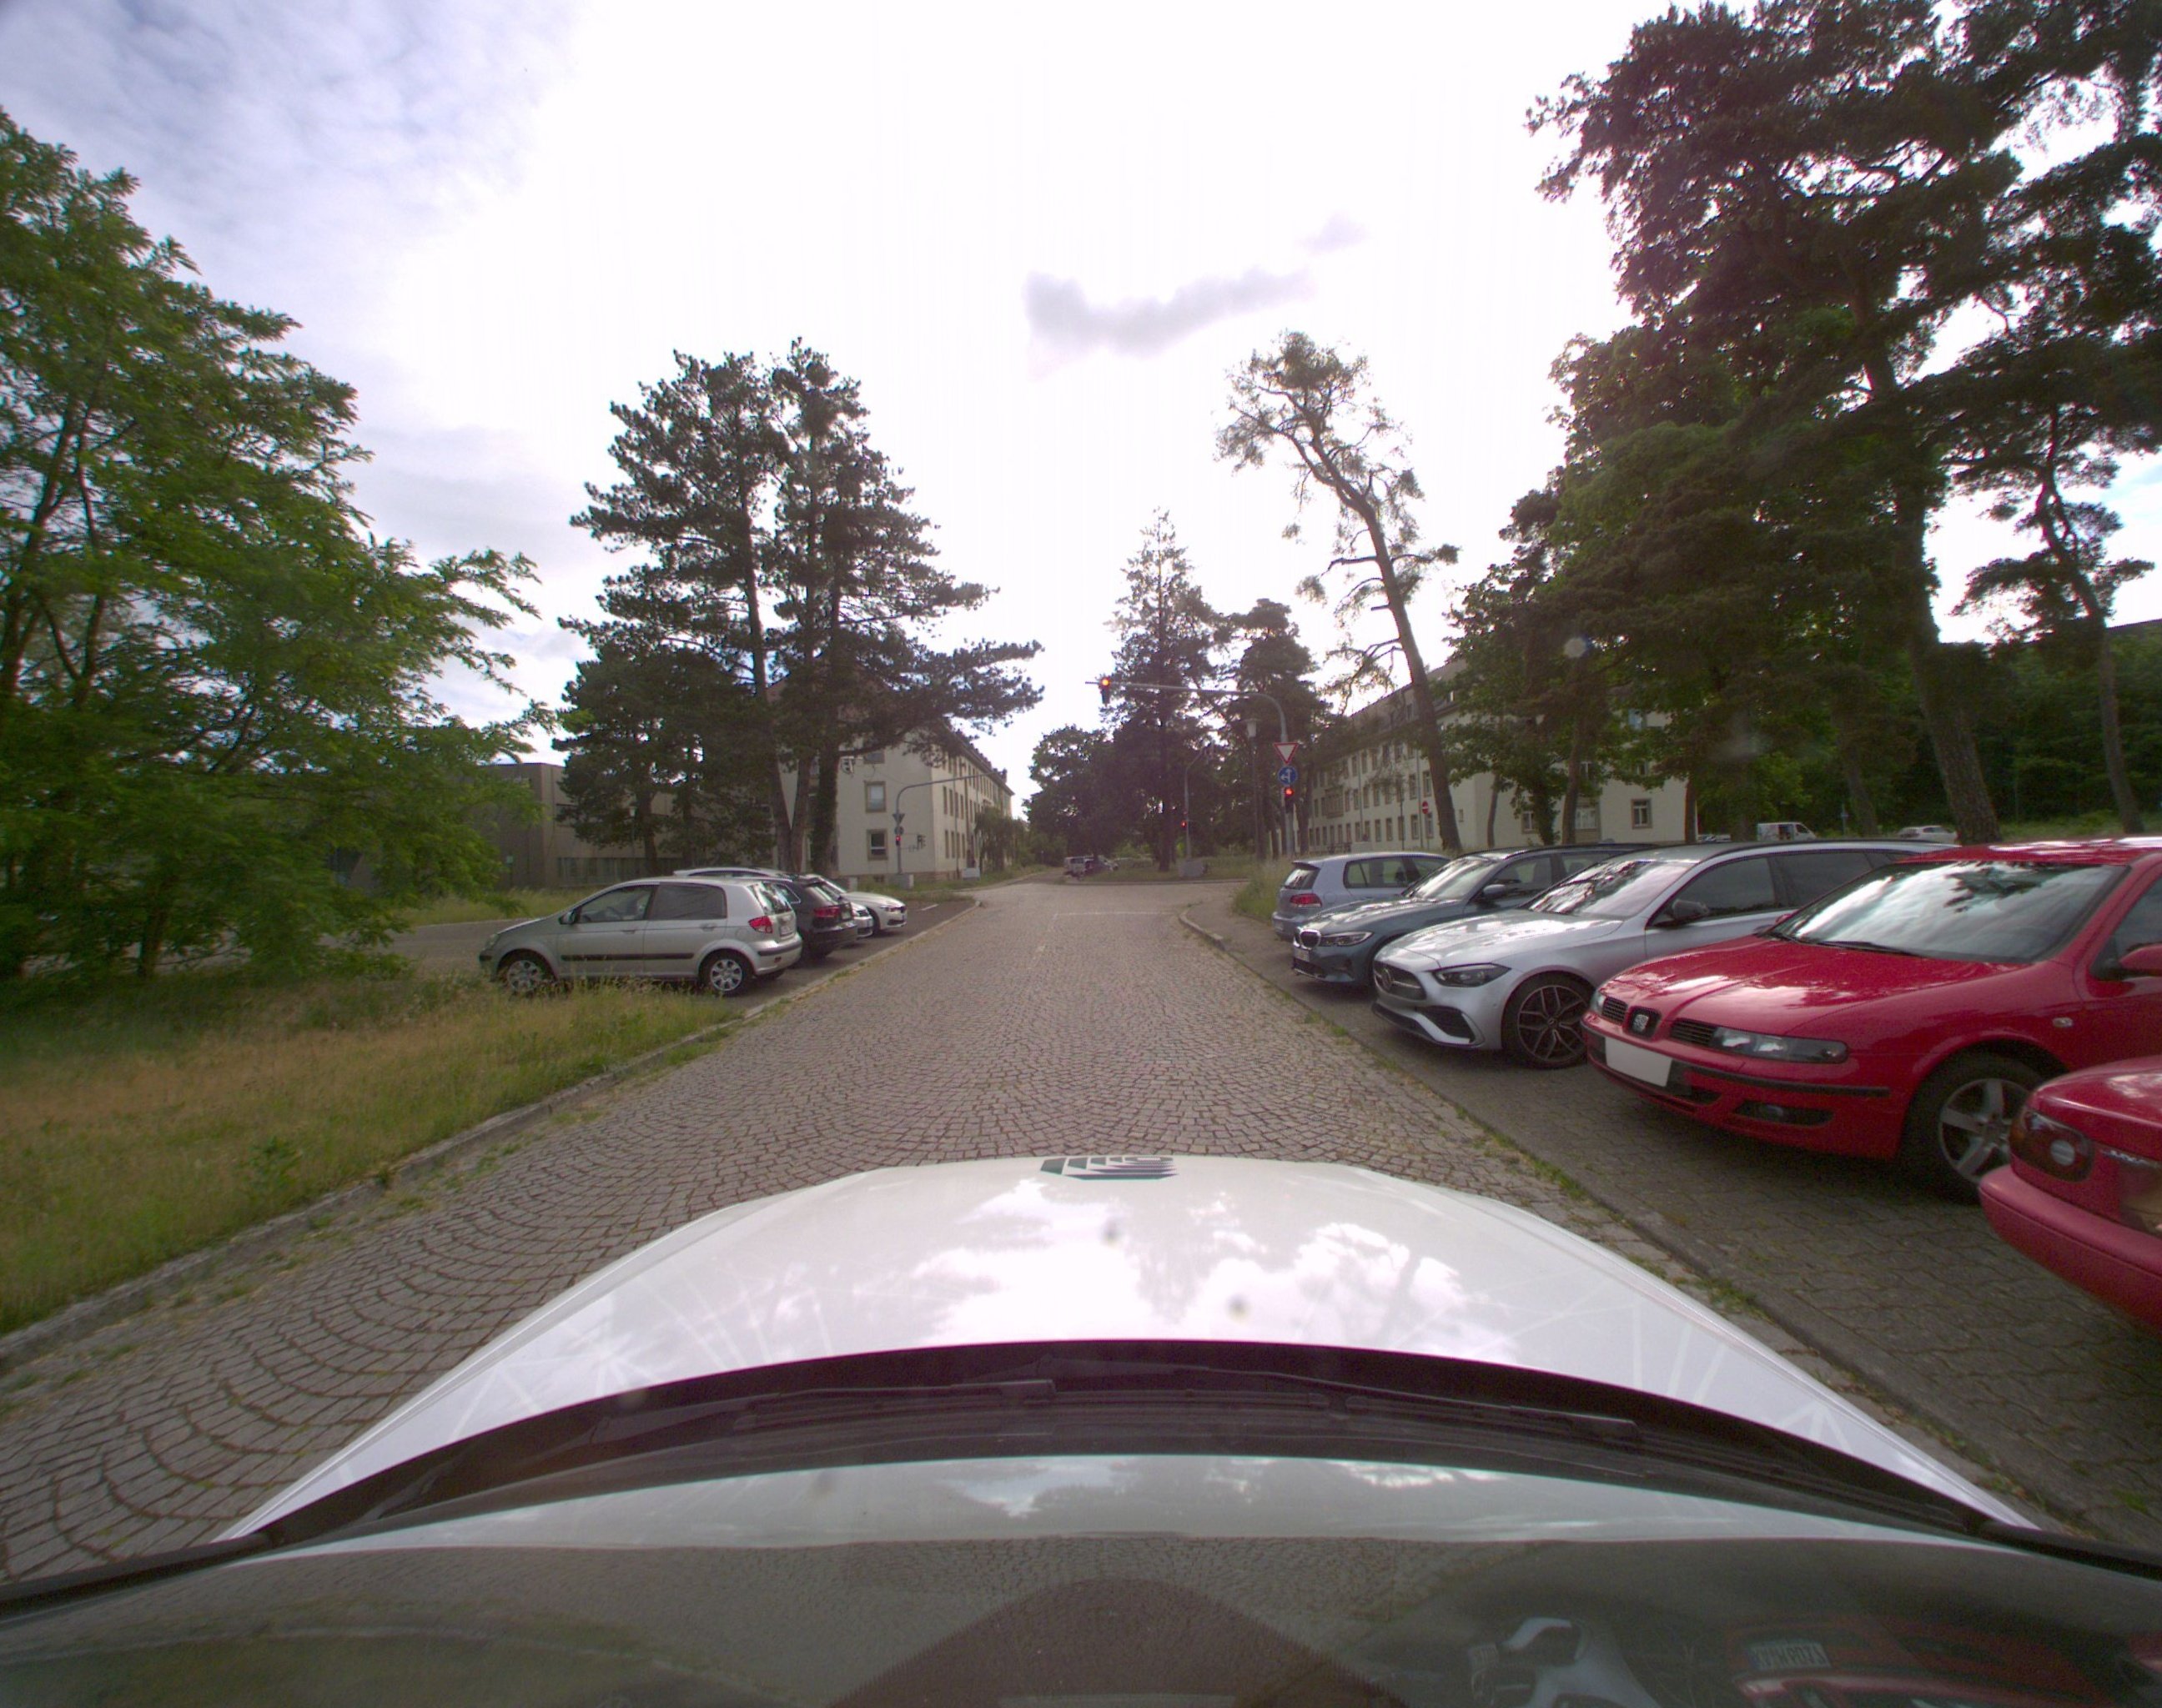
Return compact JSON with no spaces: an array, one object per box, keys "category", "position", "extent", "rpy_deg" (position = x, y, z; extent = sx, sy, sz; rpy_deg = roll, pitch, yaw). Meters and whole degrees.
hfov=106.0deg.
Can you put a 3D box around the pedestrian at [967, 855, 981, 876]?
[{"category":"pedestrian","position":[-10.007,1.045,76.326],"extent":[1.071,1.959,1.121],"rpy_deg":[-1,-1,0]}]

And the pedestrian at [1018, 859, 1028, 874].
[{"category":"pedestrian","position":[-7.680,1.671,108.340],"extent":[1.237,1.959,1.119],"rpy_deg":[-1,-1,-5]}]

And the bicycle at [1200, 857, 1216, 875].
[{"category":"bicycle","position":[7.601,0.713,48.744],"extent":[0.660,1.051,1.888],"rpy_deg":[-1,0,0]}]

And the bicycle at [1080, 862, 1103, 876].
[{"category":"bicycle","position":[0.873,1.238,67.430],"extent":[1.879,1.171,0.663],"rpy_deg":[-1,-1,-6]}]

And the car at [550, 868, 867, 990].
[{"category":"car","position":[-5.911,1.143,13.419],"extent":[4.293,1.554,1.808],"rpy_deg":[-4,0,-6]}]

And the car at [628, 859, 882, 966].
[{"category":"car","position":[-6.340,1.105,16.220],"extent":[4.292,1.732,1.649],"rpy_deg":[-4,0,-6]}]

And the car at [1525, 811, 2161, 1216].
[{"category":"car","position":[4.804,0.588,4.191],"extent":[4.094,1.476,1.683],"rpy_deg":[-4,0,-2]}]

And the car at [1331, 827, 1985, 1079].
[{"category":"car","position":[4.402,0.653,6.548],"extent":[4.182,1.437,1.751],"rpy_deg":[-4,0,-8]}]

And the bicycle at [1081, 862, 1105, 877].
[{"category":"bicycle","position":[0.986,1.226,66.479],"extent":[1.879,1.171,0.663],"rpy_deg":[-1,-1,-6]}]

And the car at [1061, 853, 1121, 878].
[{"category":"car","position":[0.964,1.115,78.739],"extent":[5.381,2.101,2.169],"rpy_deg":[-3,0,-13]}]

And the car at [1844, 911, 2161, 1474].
[{"category":"car","position":[4.307,0.749,1.842],"extent":[3.574,1.223,1.629],"rpy_deg":[-4,0,1]}]

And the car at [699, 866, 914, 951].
[{"category":"car","position":[-6.143,1.196,18.675],"extent":[4.293,1.554,1.808],"rpy_deg":[-4,0,-6]}]

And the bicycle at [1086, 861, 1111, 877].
[{"category":"bicycle","position":[1.370,1.193,63.939],"extent":[1.879,1.171,0.663],"rpy_deg":[-1,-1,-6]}]

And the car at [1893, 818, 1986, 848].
[{"category":"car","position":[57.705,-1.396,54.789],"extent":[4.118,1.804,1.900],"rpy_deg":[-1,-1,1]}]

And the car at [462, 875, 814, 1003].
[{"category":"car","position":[-5.688,1.051,10.826],"extent":[3.712,1.481,1.671],"rpy_deg":[-1,0,-3]}]

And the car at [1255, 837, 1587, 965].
[{"category":"car","position":[4.834,0.625,11.873],"extent":[4.129,1.463,1.630],"rpy_deg":[-4,0,-6]}]

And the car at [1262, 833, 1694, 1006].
[{"category":"car","position":[4.426,0.647,9.315],"extent":[4.231,1.479,1.703],"rpy_deg":[-4,0,-11]}]

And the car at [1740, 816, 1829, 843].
[{"category":"car","position":[56.542,-1.962,65.514],"extent":[5.282,2.019,2.106],"rpy_deg":[-1,-1,0]}]

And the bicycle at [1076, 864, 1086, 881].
[{"category":"bicycle","position":[0.007,1.324,59.290],"extent":[0.660,1.171,1.887],"rpy_deg":[-1,-1,0]}]
